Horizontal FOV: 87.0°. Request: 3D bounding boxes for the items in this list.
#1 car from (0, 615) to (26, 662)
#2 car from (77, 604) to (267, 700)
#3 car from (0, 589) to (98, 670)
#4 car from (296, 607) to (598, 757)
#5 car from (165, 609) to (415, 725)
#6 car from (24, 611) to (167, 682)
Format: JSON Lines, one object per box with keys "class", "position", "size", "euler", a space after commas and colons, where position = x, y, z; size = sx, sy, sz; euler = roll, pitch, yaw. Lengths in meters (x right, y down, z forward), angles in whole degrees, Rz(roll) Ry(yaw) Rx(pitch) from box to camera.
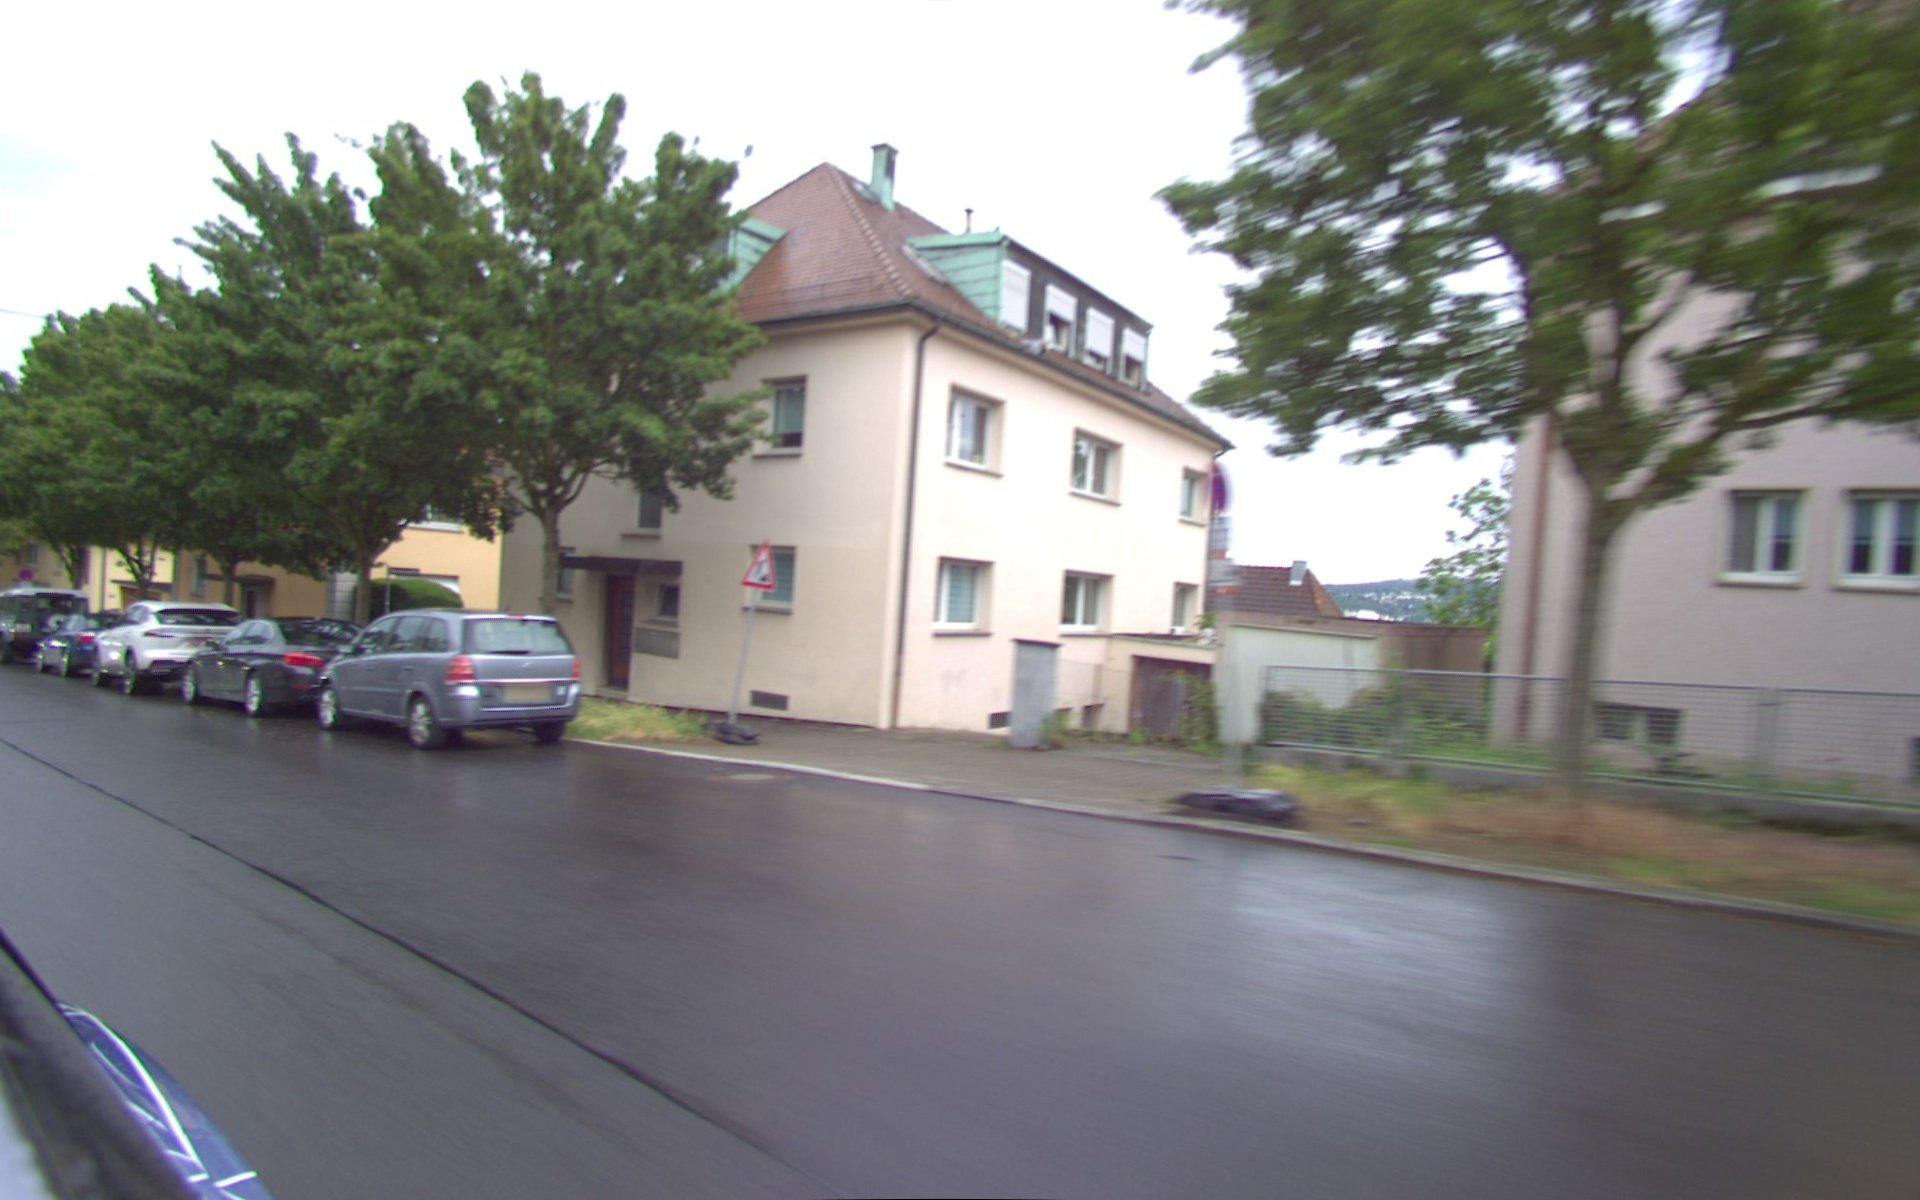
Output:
{"class": "car", "position": [-29.974, 1.114, 30.823], "size": [3.533, 1.384, 1.524], "euler": [0, -4, 37]}
{"class": "car", "position": [-15.031, 0.937, 19.218], "size": [4.504, 1.626, 1.790], "euler": [0, -4, 39]}
{"class": "car", "position": [-25.536, 0.801, 27.758], "size": [4.554, 2.027, 1.801], "euler": [0, -4, 37]}
{"class": "car", "position": [-6.592, 0.936, 12.832], "size": [4.289, 1.557, 1.700], "euler": [0, -4, 38]}
{"class": "car", "position": [-10.671, 0.968, 15.990], "size": [4.732, 1.520, 1.804], "euler": [0, -2, 38]}
{"class": "car", "position": [-19.776, 1.038, 23.103], "size": [4.262, 1.453, 1.603], "euler": [0, -4, 38]}
